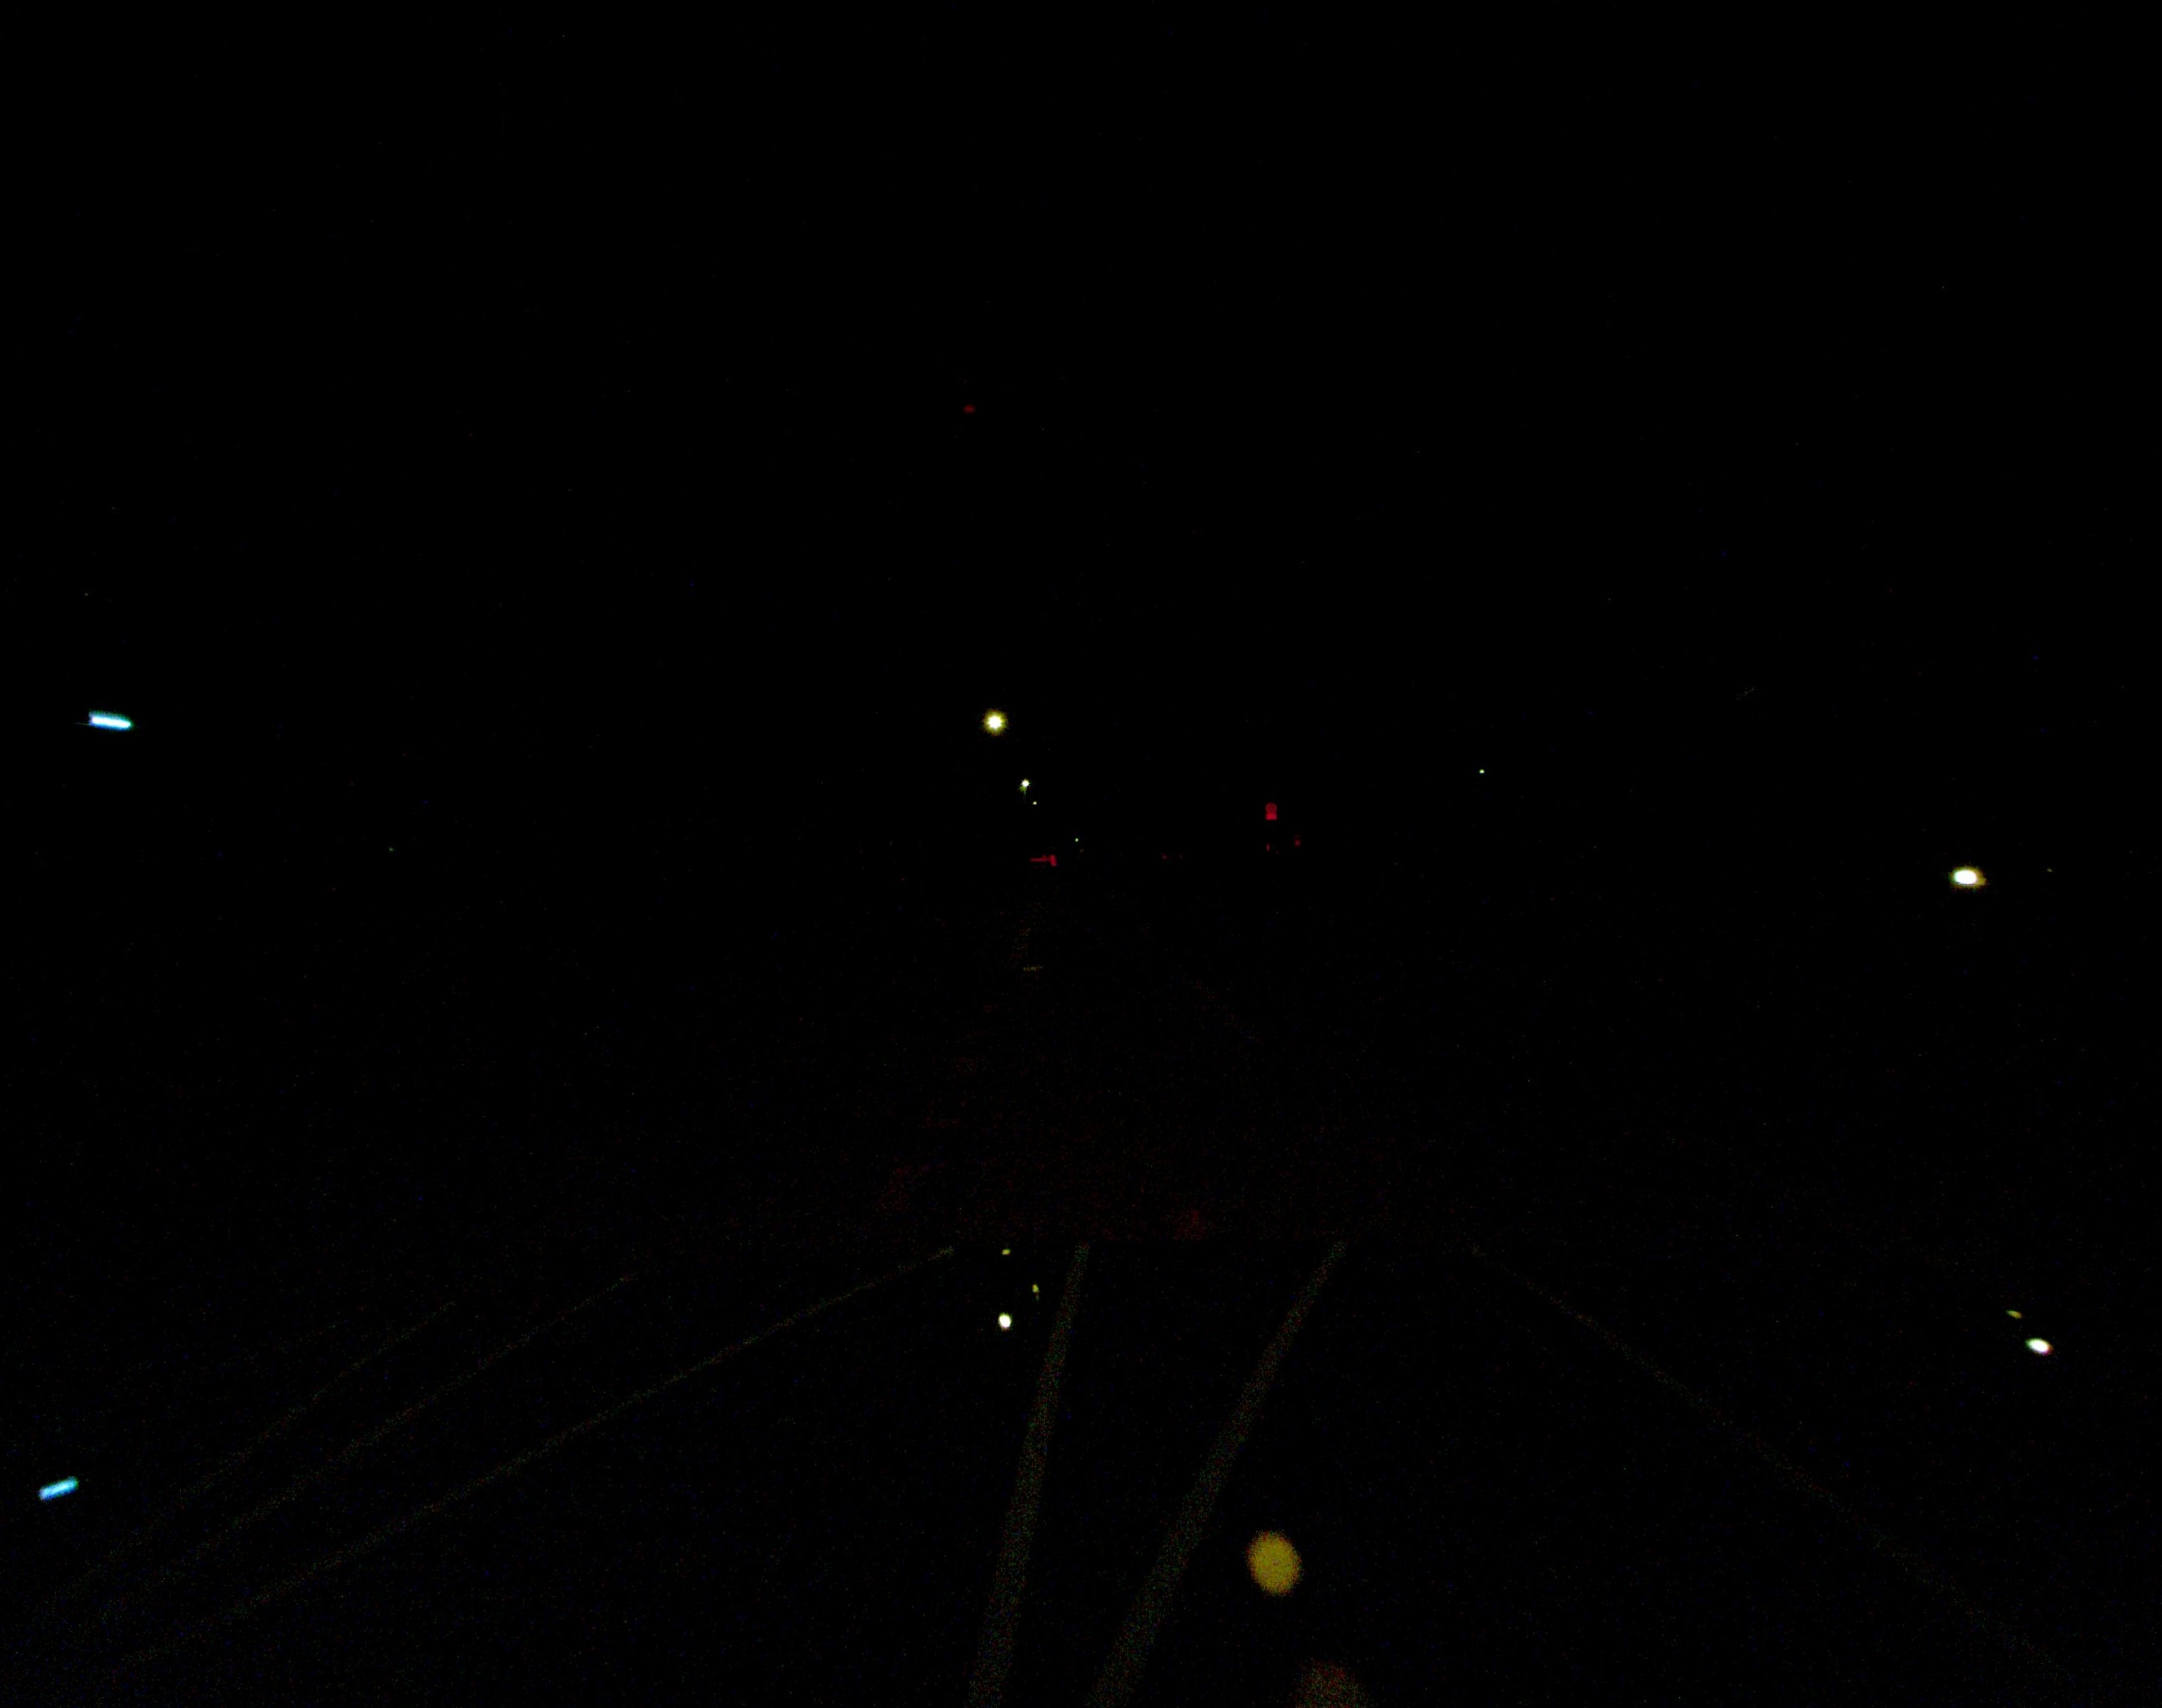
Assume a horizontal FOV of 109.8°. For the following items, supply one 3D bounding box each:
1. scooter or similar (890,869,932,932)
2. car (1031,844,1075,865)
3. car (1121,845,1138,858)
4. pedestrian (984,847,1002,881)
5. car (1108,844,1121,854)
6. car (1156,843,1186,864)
[{"bbox_3d":[-3.640,0.972,16.354,0.570,1.271,1.391,0,0,0],"label":"scooter or similar"},{"bbox_3d":[-2.590,0.059,70.818,3.997,1.821,1.912,-1,2,0],"label":"car"},{"bbox_3d":[6.396,-0.340,100.477,1.911,1.445,3.999,-3,2,1],"label":"car"},{"bbox_3d":[-4.805,0.542,41.457,0.824,1.809,0.608,-3,2,1],"label":"pedestrian"},{"bbox_3d":[5.172,-0.791,118.320,1.911,1.445,3.999,-3,2,1],"label":"car"},{"bbox_3d":[7.216,-0.065,61.017,1.911,1.445,3.999,-3,2,1],"label":"car"}]
